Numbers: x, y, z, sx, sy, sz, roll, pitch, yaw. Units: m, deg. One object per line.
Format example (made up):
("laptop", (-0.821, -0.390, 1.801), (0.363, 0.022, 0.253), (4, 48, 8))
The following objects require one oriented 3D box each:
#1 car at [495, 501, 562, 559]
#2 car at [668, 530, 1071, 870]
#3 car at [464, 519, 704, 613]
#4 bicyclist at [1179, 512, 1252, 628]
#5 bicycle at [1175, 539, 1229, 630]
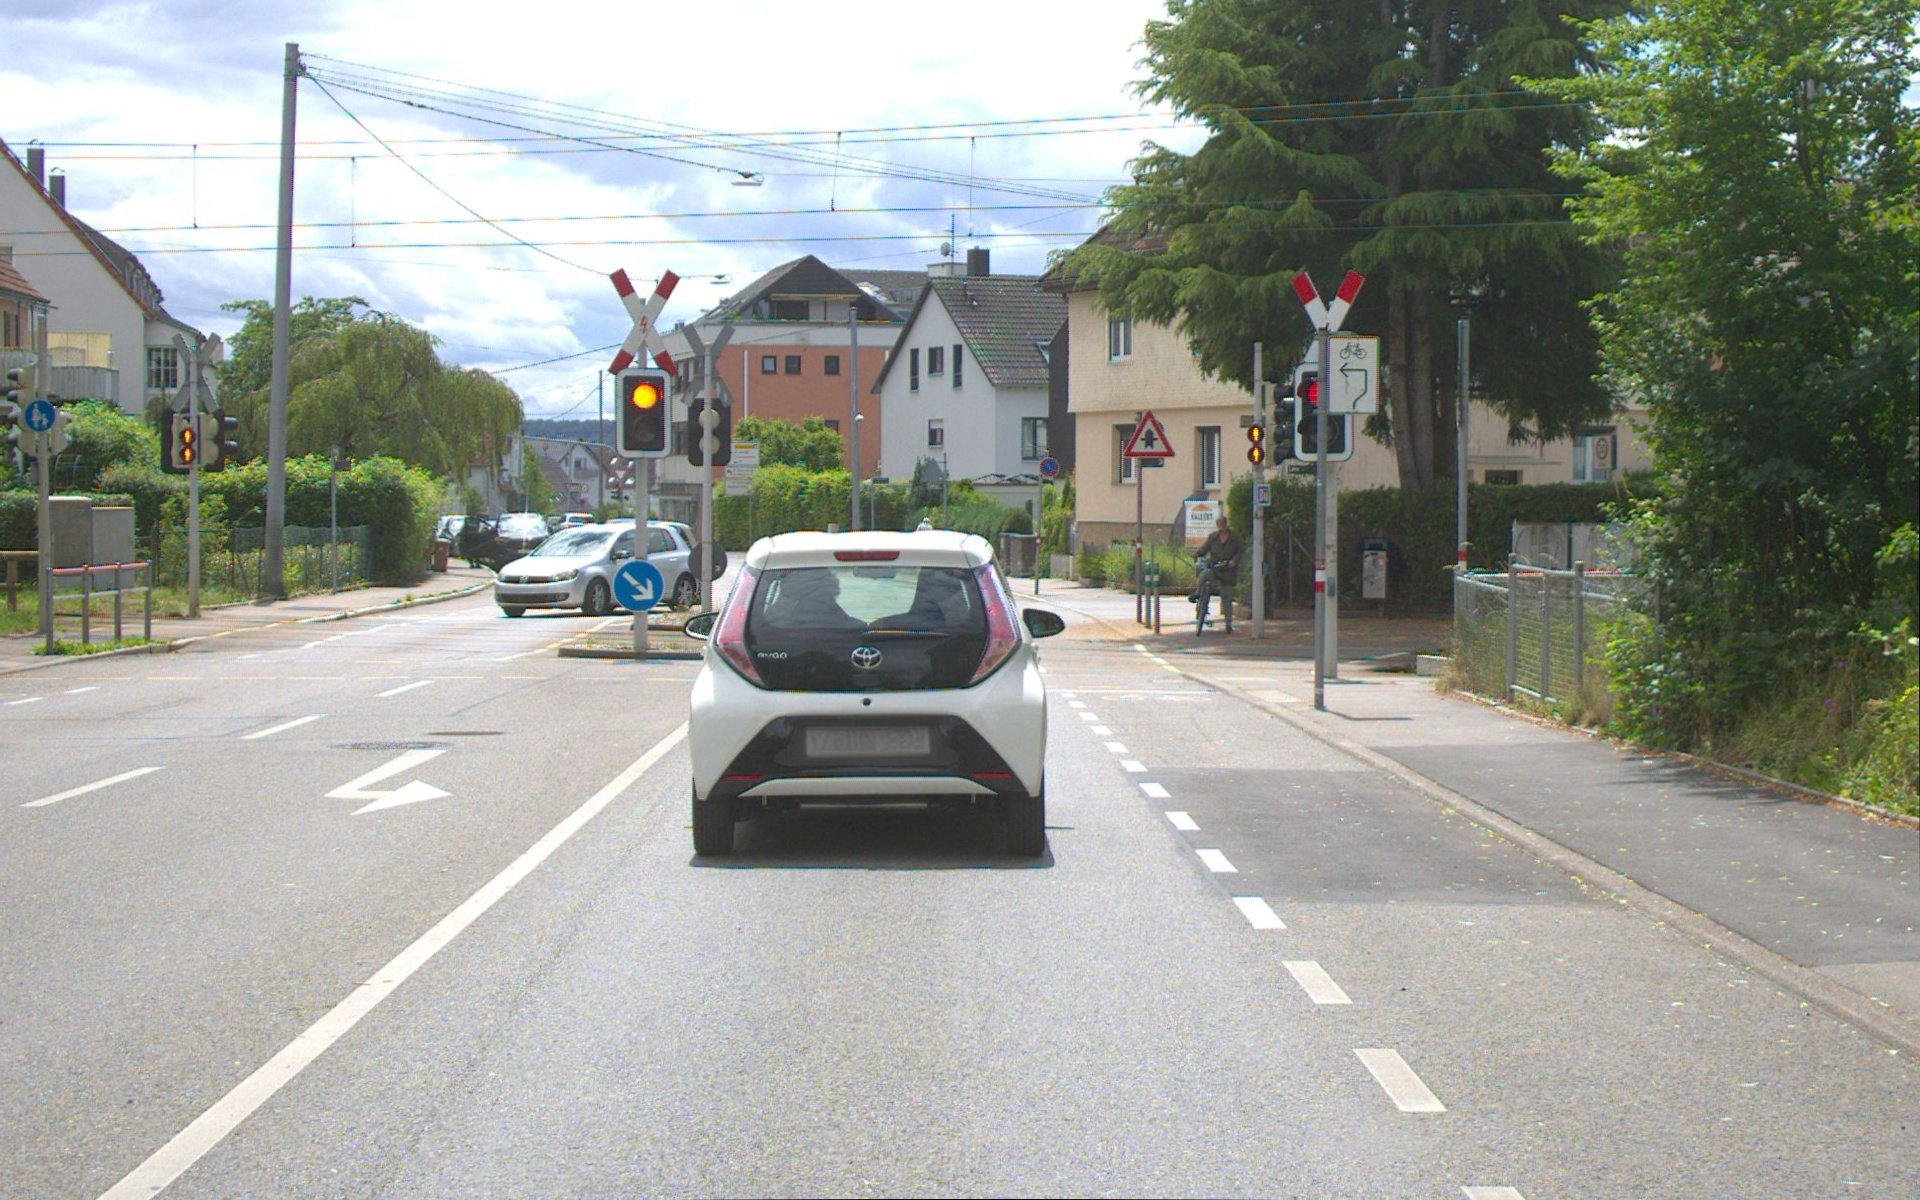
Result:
("car", (-13.454, -2.191, 107.276), (1.993, 1.713, 4.001), (1, 1, -7))
("car", (-0.515, 0.398, 16.764), (1.721, 1.437, 3.709), (1, 1, -4))
("car", (-6.106, -0.555, 56.231), (1.908, 1.436, 4.092), (2, 1, 28))
("bicyclist", (3.570, -0.420, 48.088), (0.840, 1.548, 0.756), (-3, 4, -6))
("bicycle", (3.378, -0.222, 48.140), (0.457, 1.168, 1.480), (-3, 4, -6))
